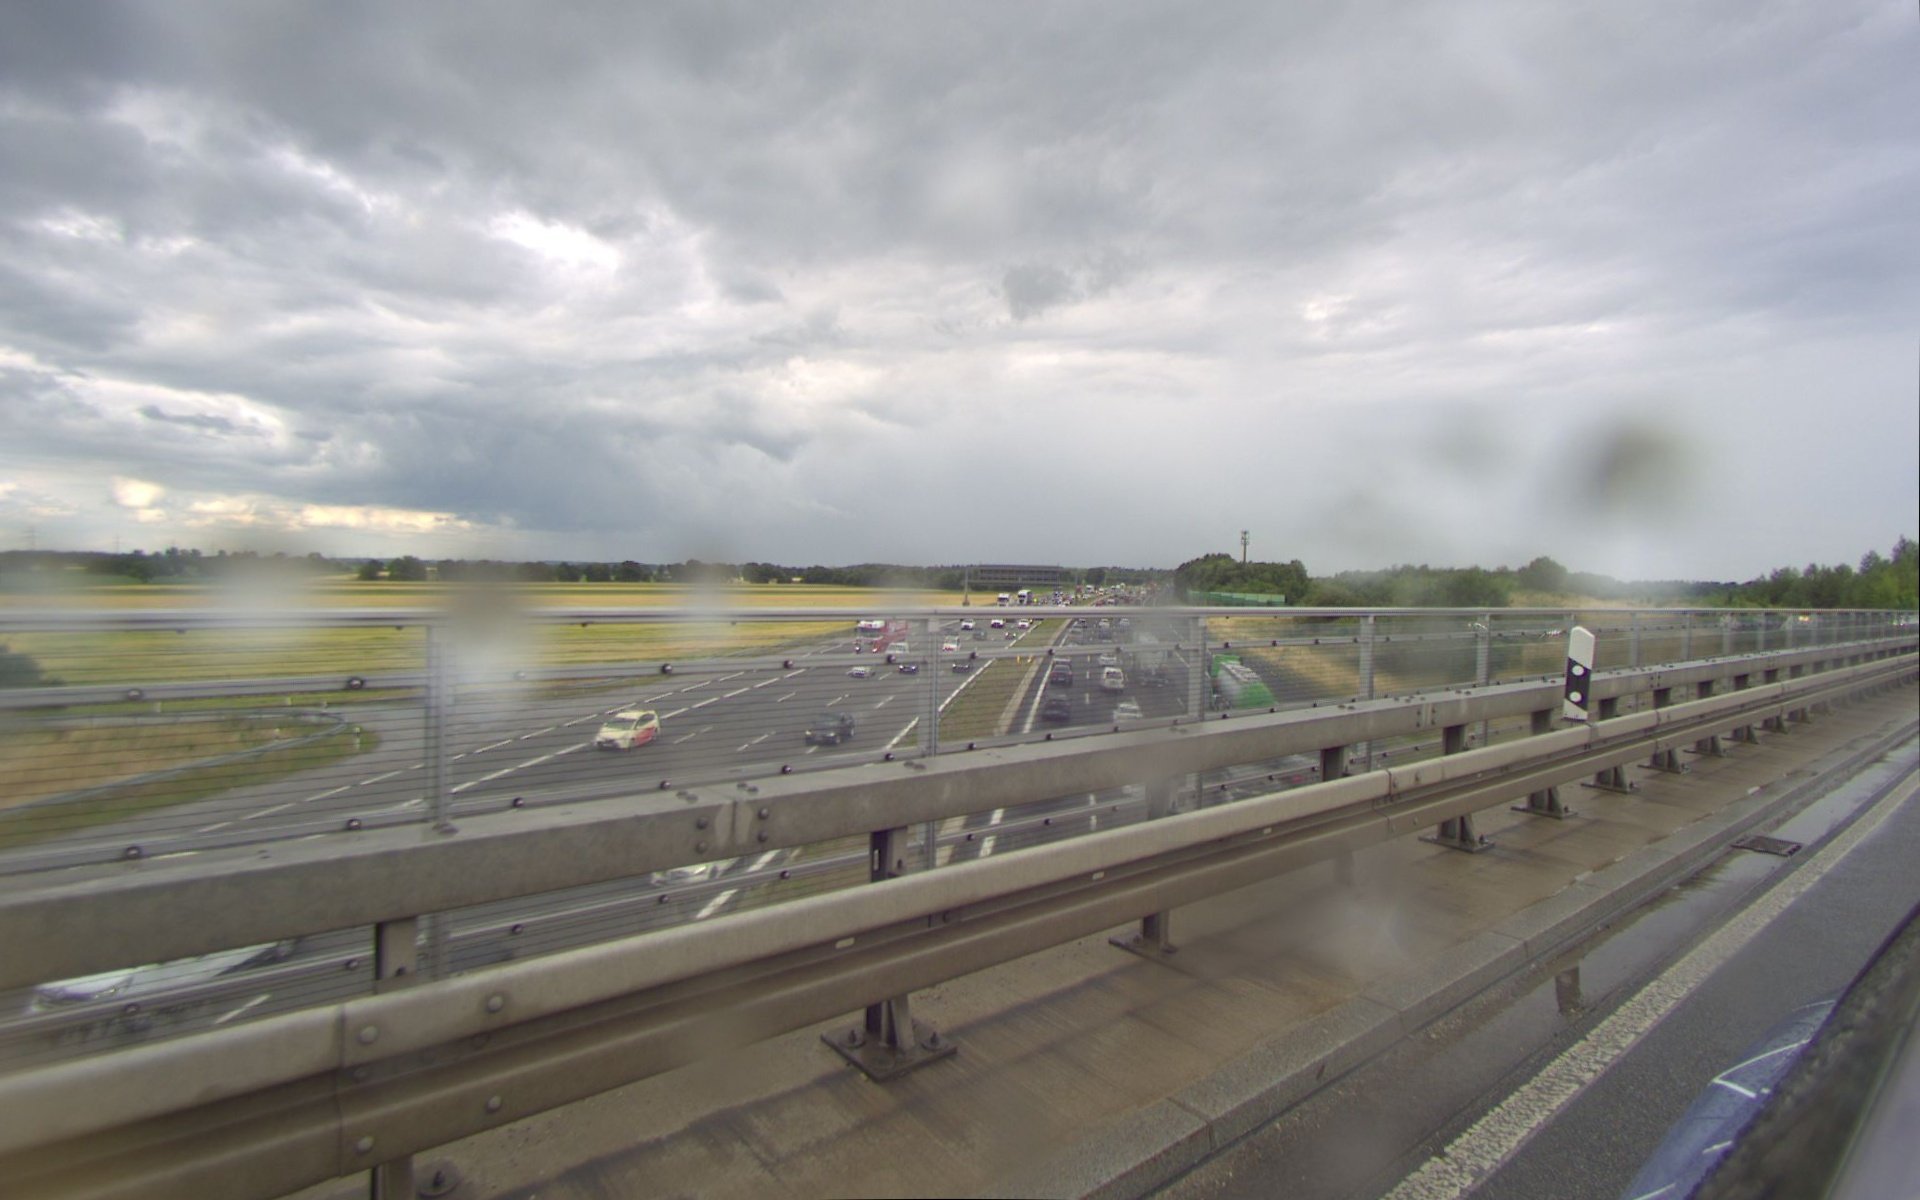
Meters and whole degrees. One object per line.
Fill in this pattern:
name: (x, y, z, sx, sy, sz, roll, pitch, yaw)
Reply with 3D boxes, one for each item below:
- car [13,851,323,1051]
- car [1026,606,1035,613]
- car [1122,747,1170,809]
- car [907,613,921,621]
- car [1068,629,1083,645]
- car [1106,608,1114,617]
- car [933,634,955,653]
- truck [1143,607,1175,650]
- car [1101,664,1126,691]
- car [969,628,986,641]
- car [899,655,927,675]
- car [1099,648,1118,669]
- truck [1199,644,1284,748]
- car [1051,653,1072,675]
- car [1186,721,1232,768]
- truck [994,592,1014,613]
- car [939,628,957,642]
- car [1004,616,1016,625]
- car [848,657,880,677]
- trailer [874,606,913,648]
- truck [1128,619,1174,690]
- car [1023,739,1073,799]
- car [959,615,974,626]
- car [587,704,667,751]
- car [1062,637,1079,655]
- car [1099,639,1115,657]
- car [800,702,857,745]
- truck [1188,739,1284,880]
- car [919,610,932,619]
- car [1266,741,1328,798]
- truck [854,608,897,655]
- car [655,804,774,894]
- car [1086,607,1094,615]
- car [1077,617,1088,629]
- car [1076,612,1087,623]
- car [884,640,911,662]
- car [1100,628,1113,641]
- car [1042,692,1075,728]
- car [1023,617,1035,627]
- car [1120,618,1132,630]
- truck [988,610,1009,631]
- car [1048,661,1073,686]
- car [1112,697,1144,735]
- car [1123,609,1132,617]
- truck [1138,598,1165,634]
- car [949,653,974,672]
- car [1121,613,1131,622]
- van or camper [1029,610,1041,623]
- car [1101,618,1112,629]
car: (-16.479, 7.203, 21.581, 1.965, 2.249, 5.548, 0, 0, 5)
car: (16.440, 2.190, 236.836, 1.826, 1.690, 4.713, 0, 0, 9)
car: (7.773, 7.429, 42.651, 1.826, 1.690, 4.713, 0, 0, 9)
car: (-8.080, 2.993, 178.587, 1.784, 1.454, 4.715, 0, 0, 7)
car: (15.203, 4.824, 132.651, 1.826, 1.797, 4.713, 0, 0, 9)
car: (33.025, 2.715, 222.810, 1.826, 1.797, 4.713, 0, 0, 9)
car: (-1.734, 4.813, 113.040, 1.784, 1.870, 4.715, 0, 0, 7)
truck: (27.649, 3.784, 141.324, 3.434, 5.420, 15.595, 0, 0, 8)
car: (12.181, 6.127, 80.399, 1.826, 1.797, 4.713, 0, 0, 9)
car: (2.517, 4.865, 142.787, 1.784, 1.690, 4.713, 0, 0, 8)
car: (-4.272, 5.877, 92.298, 1.784, 1.454, 4.715, 0, 0, 7)
car: (14.896, 5.884, 101.537, 1.826, 1.797, 4.713, 0, 0, 9)
truck: (18.167, 5.922, 66.575, 3.241, 5.230, 15.595, 0, 0, 8)
car: (9.905, 6.226, 98.235, 1.826, 1.797, 4.713, 0, 0, 9)
car: (12.708, 7.327, 51.848, 1.826, 1.690, 4.713, 0, 0, 9)
truck: (10.727, 0.581, 246.847, 2.751, 4.961, 12.711, 0, 0, 12)
car: (-1.654, 4.777, 137.341, 1.784, 1.690, 4.713, 0, 0, 8)
car: (9.467, 3.861, 192.357, 1.784, 1.690, 4.713, 0, 0, 8)
car: (-8.311, 5.818, 88.187, 1.784, 1.454, 4.715, 0, 0, 7)
trailer: (-7.778, 3.128, 119.910, 2.641, 4.687, 9.887, 0, 0, 8)
truck: (17.207, 4.708, 92.149, 3.241, 5.511, 15.595, 0, 0, 8)
car: (3.772, 7.050, 42.634, 1.826, 1.690, 4.713, 0, 0, 9)
car: (1.122, 3.265, 161.621, 1.784, 1.690, 4.713, 0, 0, 8)
car: (-16.692, 6.349, 50.944, 1.785, 1.690, 4.710, 0, 0, 11)
car: (12.977, 5.387, 118.621, 1.826, 1.797, 4.713, 0, 0, 9)
car: (17.315, 5.641, 119.010, 1.826, 1.797, 4.713, 0, 0, 9)
car: (-7.060, 6.638, 54.833, 1.785, 1.690, 4.712, 0, 0, 9)
truck: (9.622, 7.135, 36.079, 2.175, 3.003, 9.286, 0, 0, 8)
car: (-6.507, 2.732, 191.771, 1.784, 1.454, 4.715, 0, 0, 7)
car: (14.998, 7.536, 45.321, 1.826, 1.690, 4.713, 0, 0, 9)
truck: (-9.095, 3.330, 110.198, 2.641, 4.684, 9.732, 0, 0, 8)
car: (-7.393, 7.498, 30.966, 1.785, 1.504, 4.710, 0, 0, 11)
car: (29.686, 2.543, 231.455, 1.826, 1.797, 4.713, 0, 0, 9)
car: (20.822, 3.888, 172.075, 1.826, 1.797, 4.713, 0, 0, 9)
car: (23.285, 3.329, 193.759, 1.965, 2.039, 3.994, -3, 0, 6)
car: (-6.223, 5.113, 101.237, 1.784, 1.908, 4.715, 0, 0, 7)
car: (21.415, 5.035, 148.255, 1.826, 1.797, 4.713, 0, 0, 9)
car: (6.226, 6.851, 63.518, 1.826, 1.690, 4.713, 0, 0, 9)
car: (12.704, 3.996, 186.727, 1.826, 1.690, 4.713, 0, 0, 9)
car: (27.399, 3.905, 167.440, 1.826, 1.797, 4.713, 0, 0, 9)
truck: (6.576, 3.432, 172.410, 2.553, 3.219, 8.375, 0, 0, 9)
car: (8.308, 6.057, 83.671, 1.826, 1.690, 4.713, 0, 0, 9)
car: (10.142, 6.948, 61.201, 1.826, 1.690, 4.713, 0, 0, 9)
car: (36.494, 2.818, 220.763, 1.826, 1.797, 4.713, 0, 0, 9)
truck: (31.168, 2.458, 165.127, 3.434, 5.420, 15.595, 0, 0, 8)
car: (0.207, 5.858, 95.745, 1.784, 1.454, 4.715, 0, 0, 7)
car: (33.253, 3.526, 203.065, 1.826, 1.797, 4.713, 0, 0, 9)
van or camper: (15.363, 3.298, 207.335, 2.026, 2.481, 7.312, 0, 0, 8)
car: (25.546, 4.101, 176.605, 1.826, 1.797, 4.713, 0, 0, 9)
